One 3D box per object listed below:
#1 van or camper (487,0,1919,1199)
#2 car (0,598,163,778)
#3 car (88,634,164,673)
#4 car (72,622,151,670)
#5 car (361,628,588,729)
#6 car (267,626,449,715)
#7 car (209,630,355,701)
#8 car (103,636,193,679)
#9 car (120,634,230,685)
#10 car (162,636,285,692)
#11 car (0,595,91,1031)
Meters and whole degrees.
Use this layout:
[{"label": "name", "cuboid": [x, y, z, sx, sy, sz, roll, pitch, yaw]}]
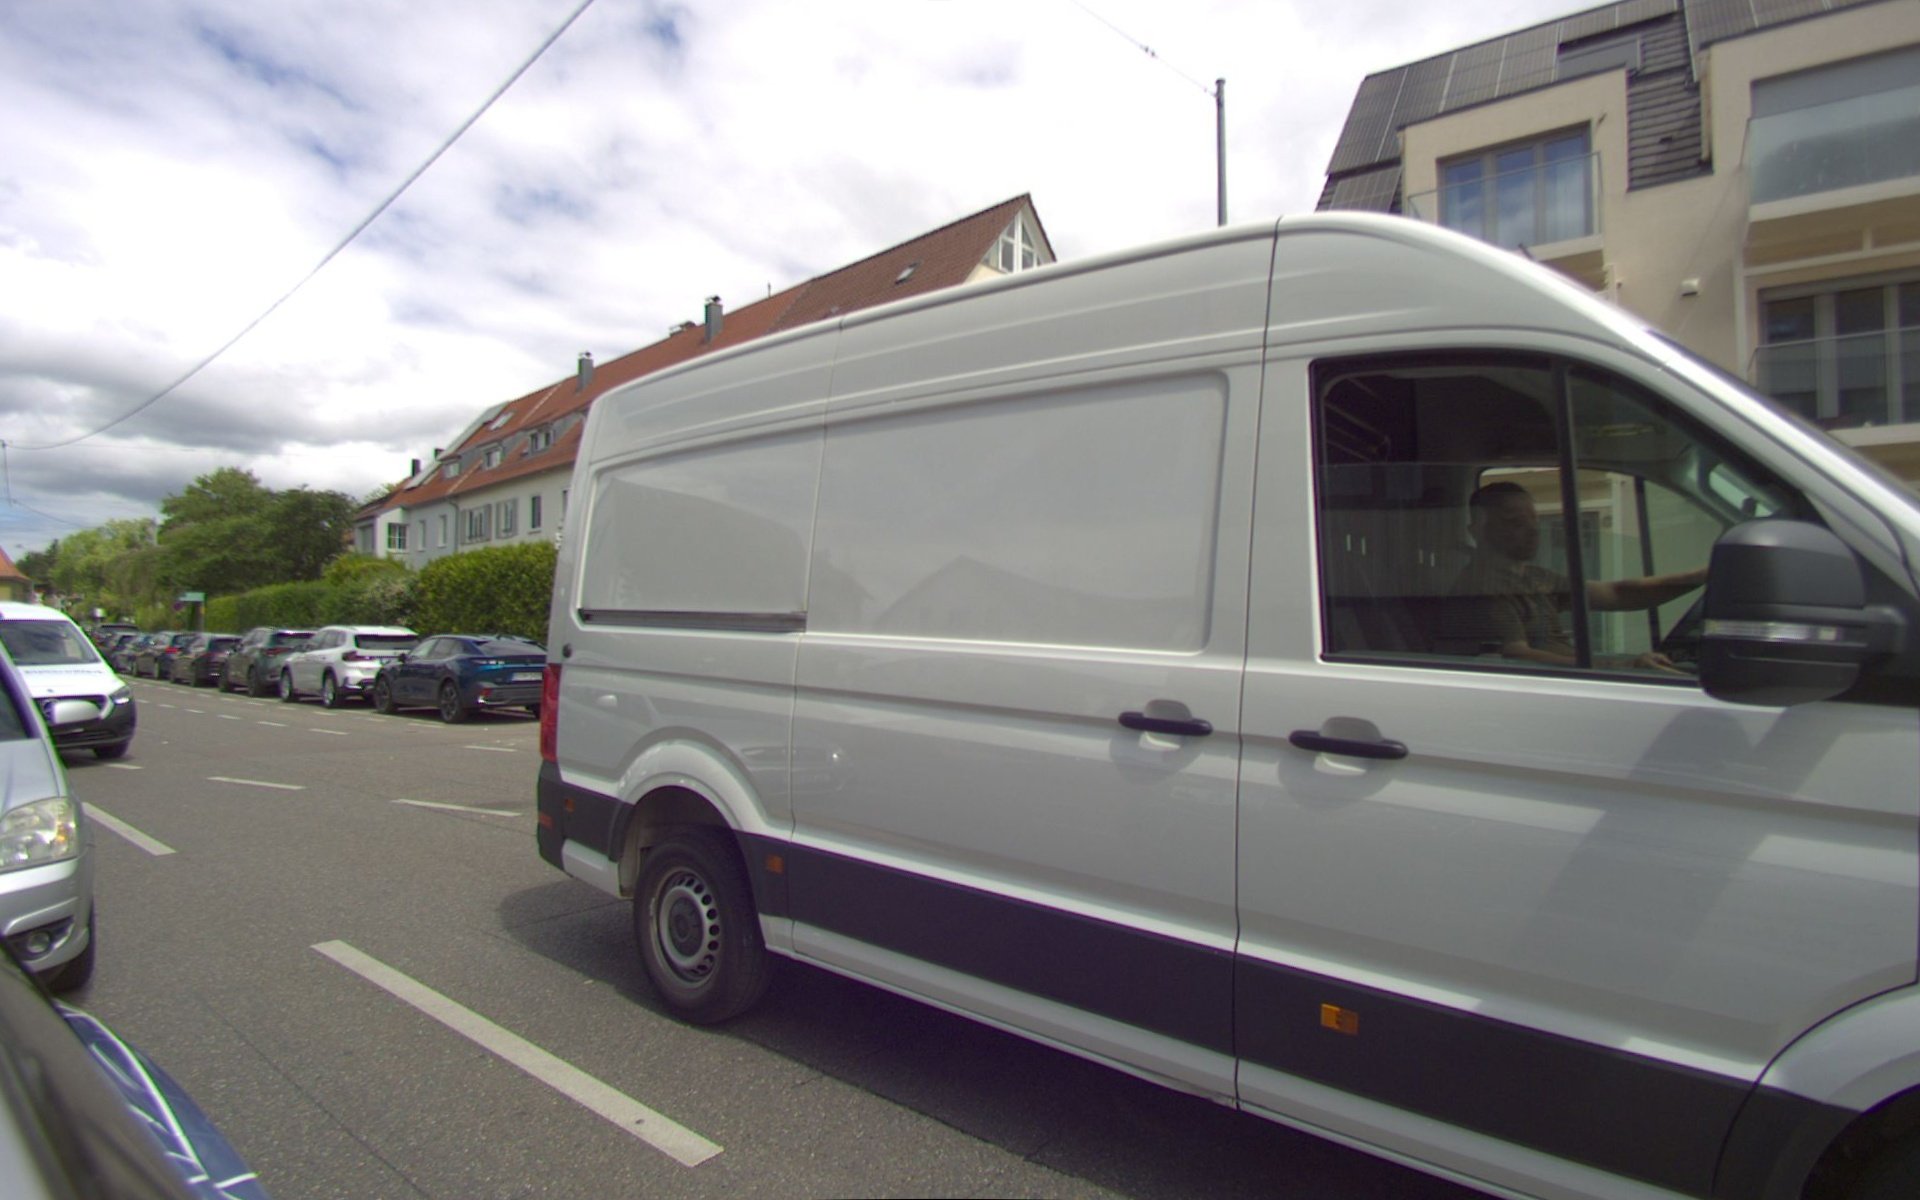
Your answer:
[{"label": "van or camper", "cuboid": [0.850, 0.138, 3.360, 5.915, 2.600, 2.005, -3, -2, 39]}, {"label": "car", "cuboid": [-11.038, 0.920, 11.582, 4.177, 1.784, 1.762, -1, -2, 33]}, {"label": "car", "cuboid": [-32.610, 2.058, 39.521, 4.340, 1.428, 1.758, -2, -3, 44]}, {"label": "car", "cuboid": [-36.355, 1.948, 43.312, 5.405, 1.909, 1.971, -2, -5, 44]}, {"label": "car", "cuboid": [-8.784, 1.305, 18.150, 4.485, 1.599, 1.973, -1, -3, 40]}, {"label": "car", "cuboid": [-12.692, 1.385, 21.220, 4.515, 1.663, 1.972, -1, -3, 41]}, {"label": "car", "cuboid": [-16.739, 1.544, 24.890, 4.690, 1.576, 1.971, -2, -3, 43]}, {"label": "car", "cuboid": [-28.788, 1.988, 35.842, 4.439, 1.428, 1.759, -1, -3, 42]}, {"label": "car", "cuboid": [-25.009, 1.842, 32.174, 4.561, 1.503, 1.760, -1, -3, 39]}, {"label": "car", "cuboid": [-20.784, 1.736, 28.488, 4.690, 1.419, 1.971, -2, -3, 43]}, {"label": "car", "cuboid": [-5.374, 0.806, 4.715, 4.332, 1.552, 1.684, -2, -1, 45]}]
